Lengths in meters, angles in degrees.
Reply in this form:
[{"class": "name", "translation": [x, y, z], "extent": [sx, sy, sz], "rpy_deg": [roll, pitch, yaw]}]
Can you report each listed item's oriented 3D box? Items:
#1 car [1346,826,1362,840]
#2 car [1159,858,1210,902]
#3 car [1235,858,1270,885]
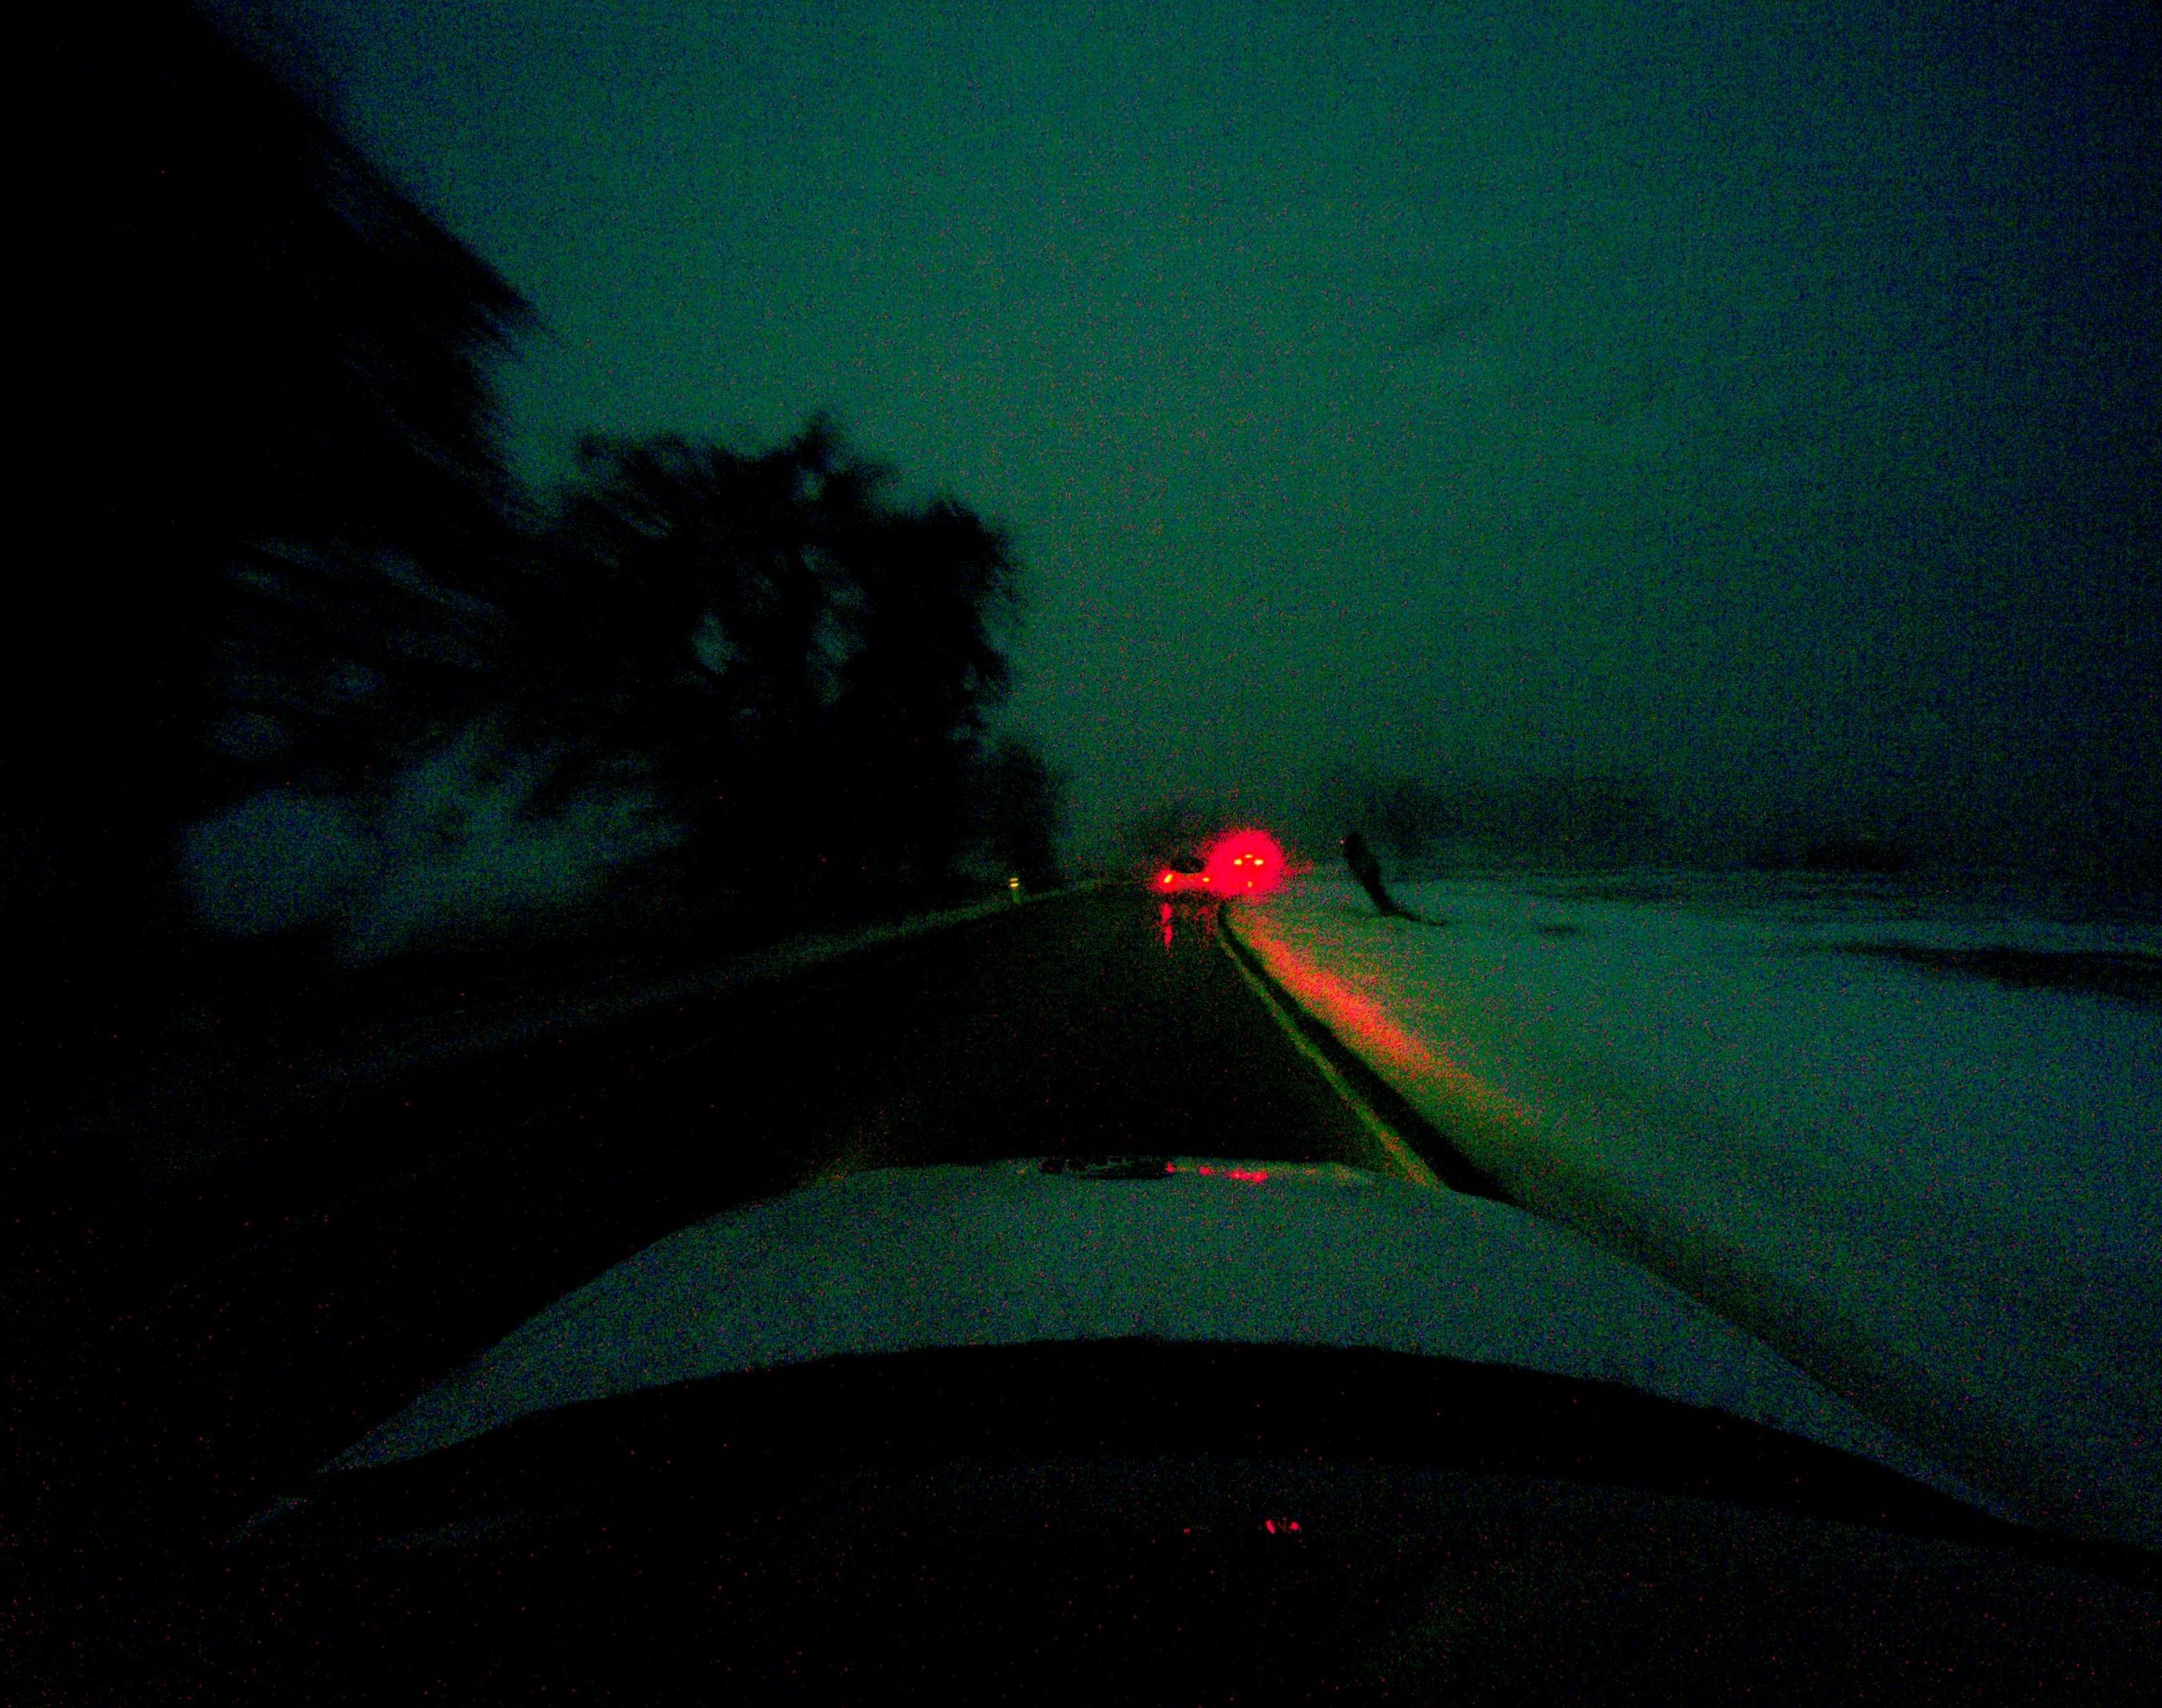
[{"class": "car", "translation": [32.662, -2.460, 97.448], "extent": [1.509, 1.508, 3.070], "rpy_deg": [-3, -1, 24]}, {"class": "car", "translation": [3.720, 0.862, 29.103], "extent": [1.697, 1.463, 4.009], "rpy_deg": [0, 0, 8]}, {"class": "car", "translation": [10.521, 1.041, 49.843], "extent": [1.465, 1.508, 3.070], "rpy_deg": [-3, 0, 24]}]
